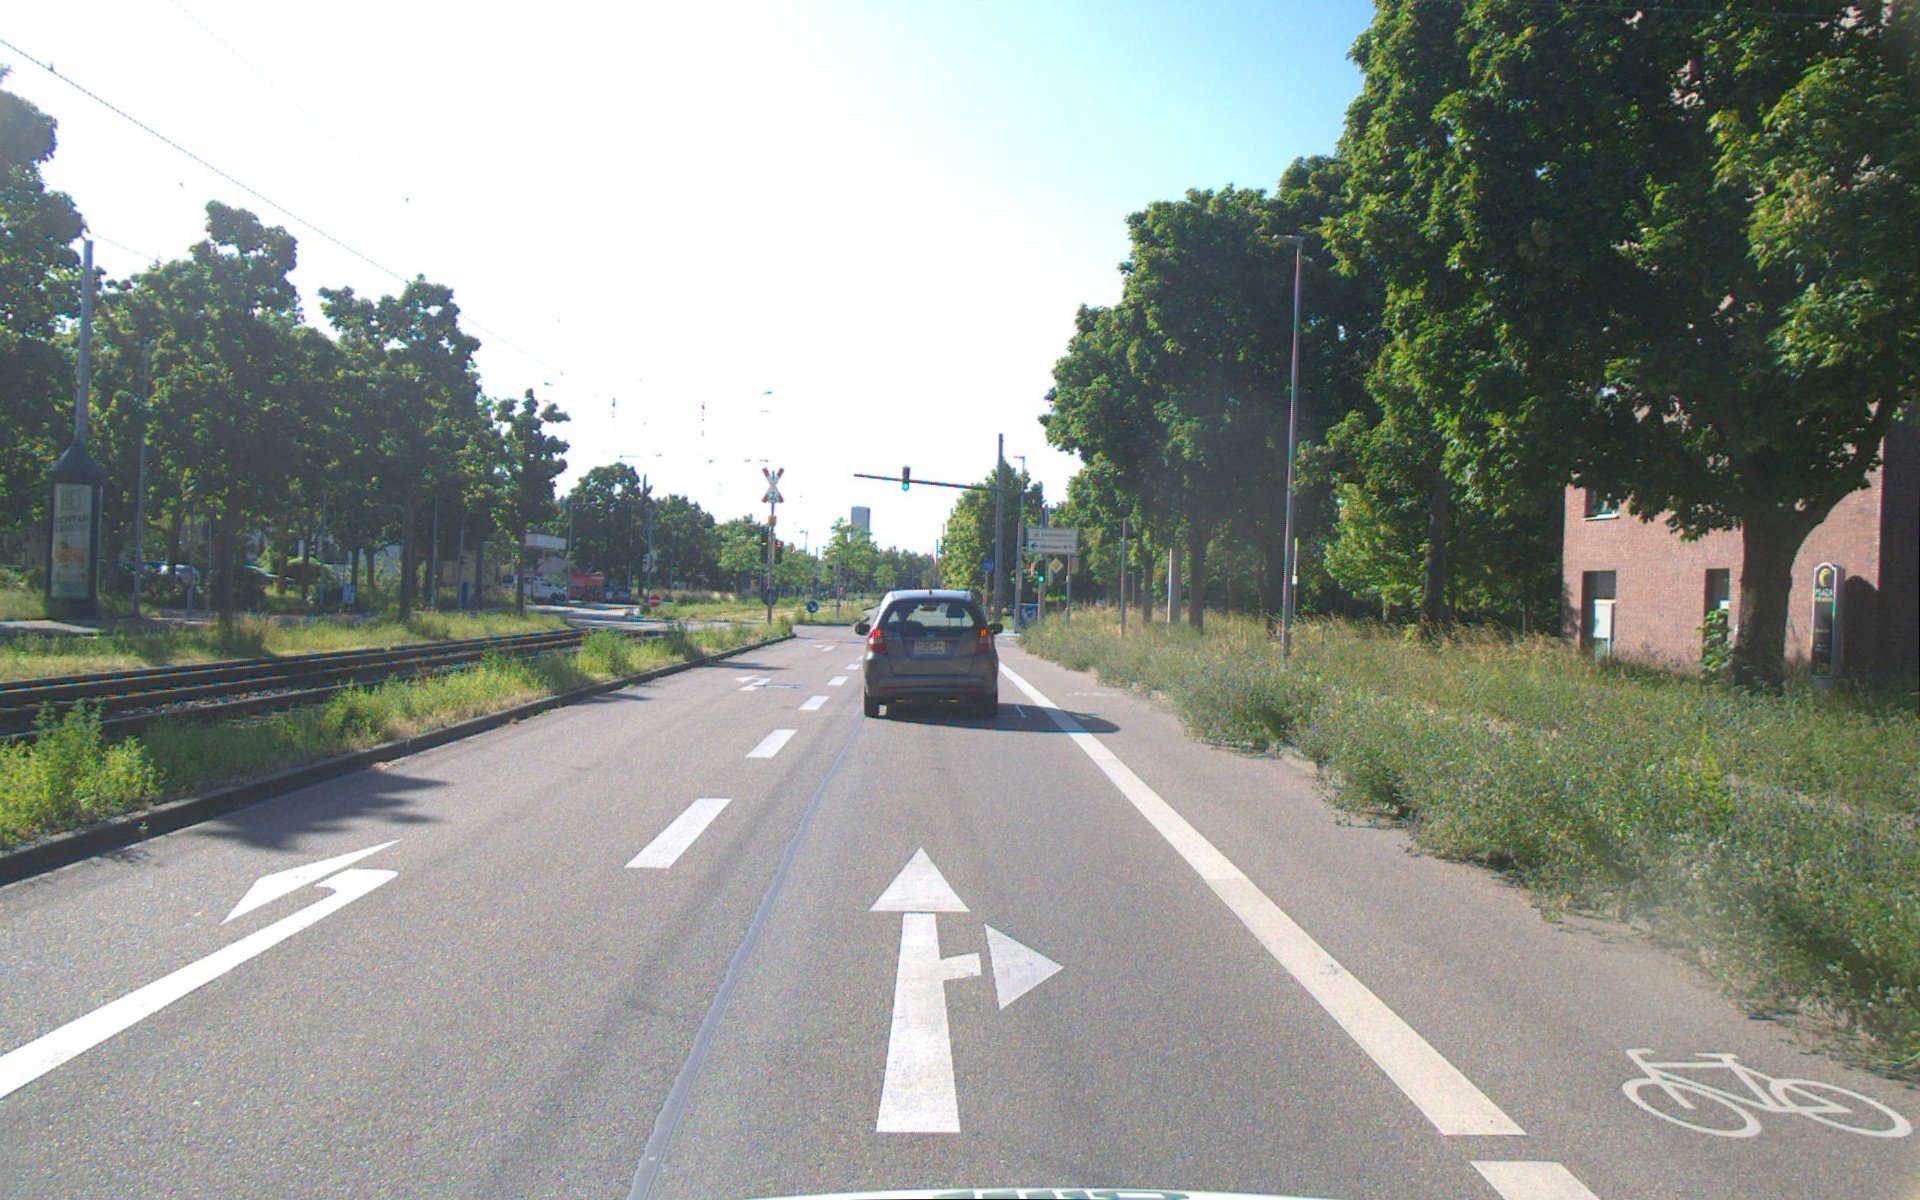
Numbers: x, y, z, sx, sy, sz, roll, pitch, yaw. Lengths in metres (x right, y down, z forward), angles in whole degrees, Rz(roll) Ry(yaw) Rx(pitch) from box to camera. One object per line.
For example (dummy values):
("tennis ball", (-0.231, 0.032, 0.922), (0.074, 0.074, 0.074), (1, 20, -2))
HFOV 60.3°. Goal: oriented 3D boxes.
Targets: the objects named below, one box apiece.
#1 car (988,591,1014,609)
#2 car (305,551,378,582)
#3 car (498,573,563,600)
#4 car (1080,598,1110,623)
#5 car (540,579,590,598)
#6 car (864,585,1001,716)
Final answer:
("car", (3.418, 0.000, 139.405), (1.739, 1.411, 3.866), (1, 0, -5))
("car", (-46.104, -2.470, 123.278), (4.628, 2.128, 2.019), (2, 0, -4))
("car", (-33.379, -1.017, 128.622), (1.825, 2.008, 4.764), (2, 0, 38))
("car", (11.394, 0.882, 139.560), (1.834, 2.001, 5.164), (3, 0, -2))
("car", (-34.623, -1.029, 145.211), (3.991, 1.596, 1.790), (2, 0, -5))
("car", (-0.332, 0.592, 21.180), (1.591, 1.526, 3.456), (1, 0, 0))
